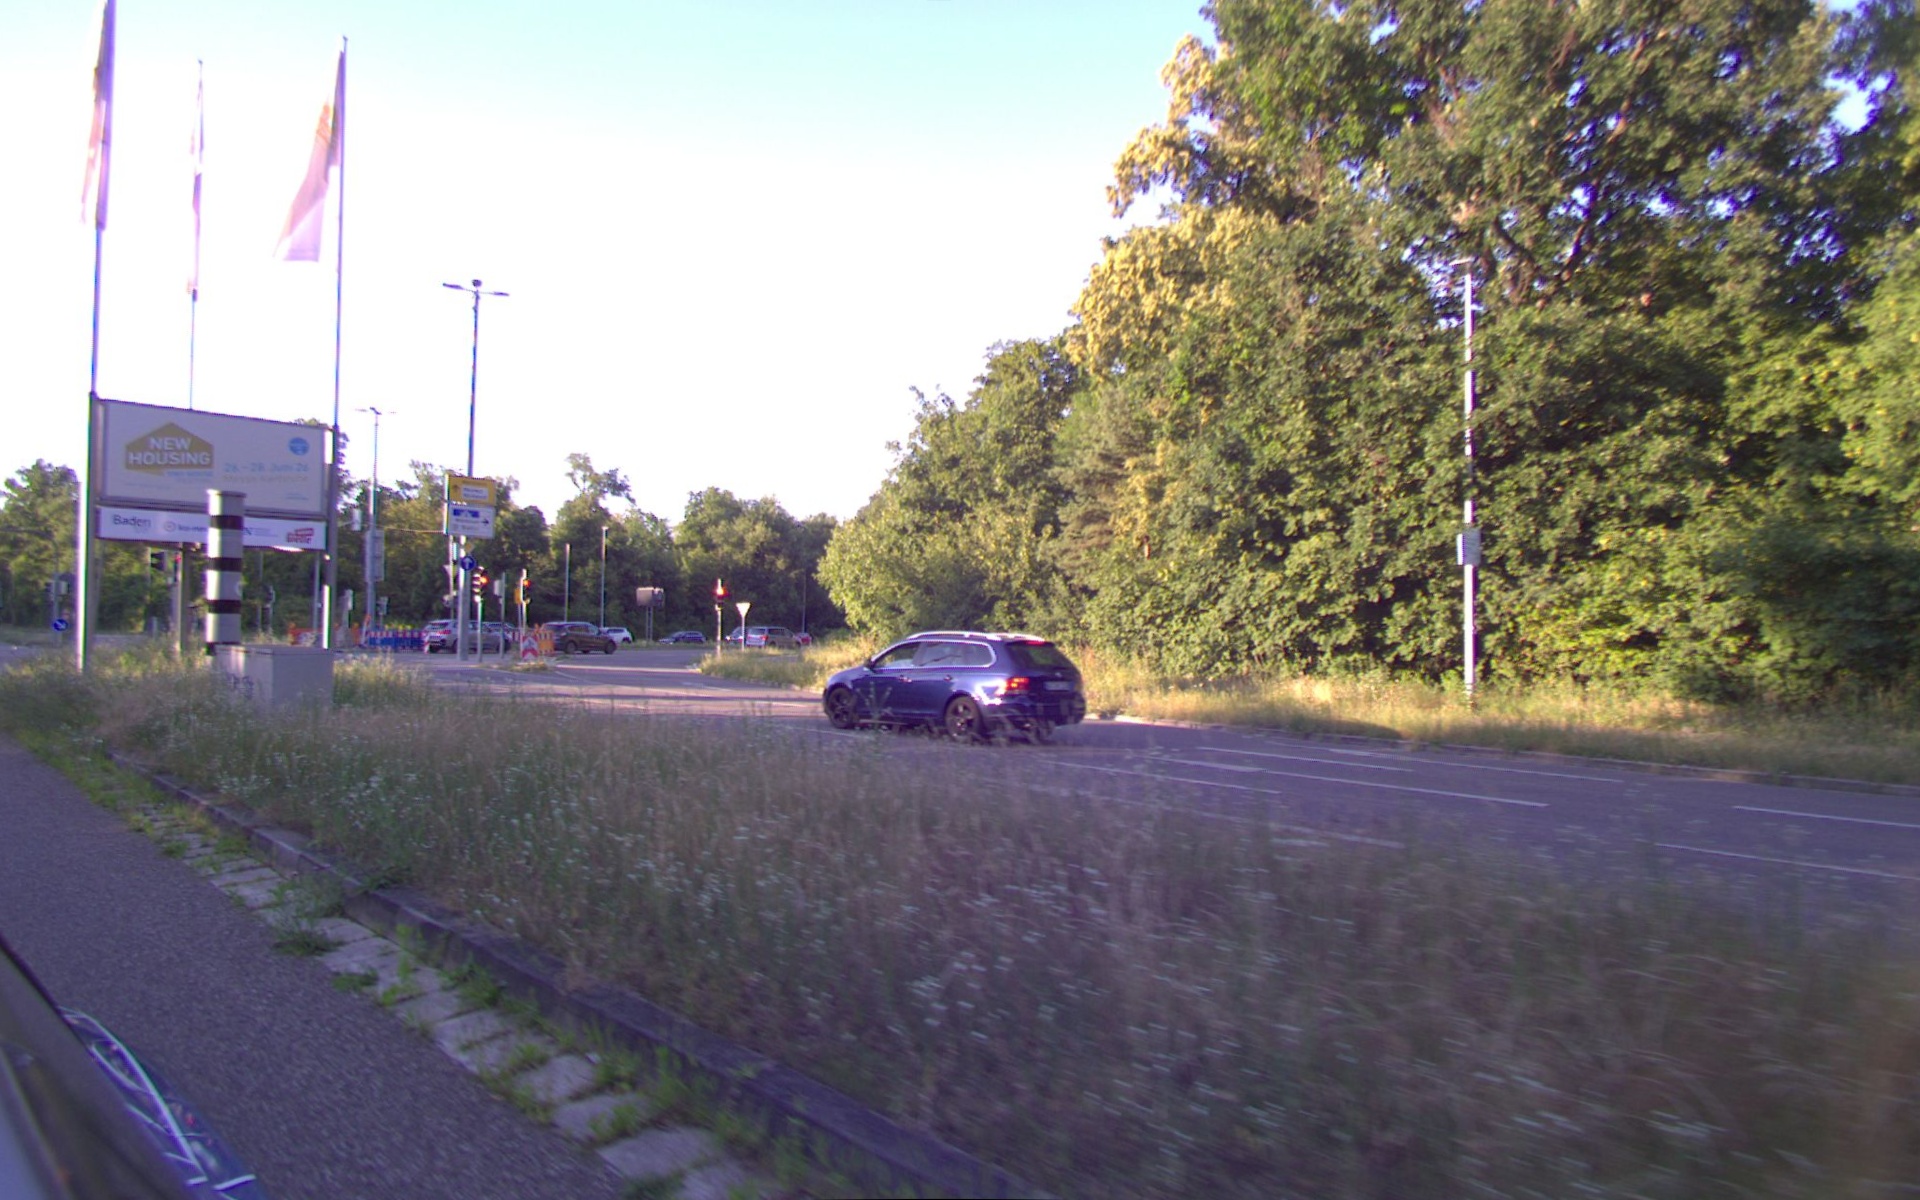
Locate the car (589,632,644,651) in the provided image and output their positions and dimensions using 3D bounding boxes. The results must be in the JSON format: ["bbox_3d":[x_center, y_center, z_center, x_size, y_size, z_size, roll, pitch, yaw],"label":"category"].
[{"bbox_3d":[-27.396,3.265,80.849,1.712,1.467,4.197,0,-2,25],"label":"car"}]

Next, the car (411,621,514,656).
[{"bbox_3d":[-24.325,1.888,49.666,1.986,1.636,4.366,-1,-2,21],"label":"car"}]

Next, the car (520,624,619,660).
[{"bbox_3d":[-20.121,2.209,52.413,1.999,1.674,4.785,2,-3,22],"label":"car"}]

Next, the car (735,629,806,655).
[{"bbox_3d":[-13.087,2.880,70.122,1.872,1.738,4.593,-1,-2,43],"label":"car"}]

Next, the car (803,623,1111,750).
[{"bbox_3d":[-0.168,1.161,14.764,4.455,1.545,1.799,-1,-4,43],"label":"car"}]

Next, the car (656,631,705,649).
[{"bbox_3d":[-24.059,3.450,87.264,1.712,1.467,4.363,0,-2,25],"label":"car"}]

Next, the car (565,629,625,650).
[{"bbox_3d":[-26.600,2.832,73.864,1.712,1.467,4.197,0,-2,25],"label":"car"}]

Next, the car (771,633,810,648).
[{"bbox_3d":[-17.108,4.093,102.177,1.873,1.432,4.198,0,-2,24],"label":"car"}]

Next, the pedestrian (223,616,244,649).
[{"bbox_3d":[-40.627,1.814,56.607,0.571,1.814,0.745,-1,-2,18],"label":"pedestrian"}]
